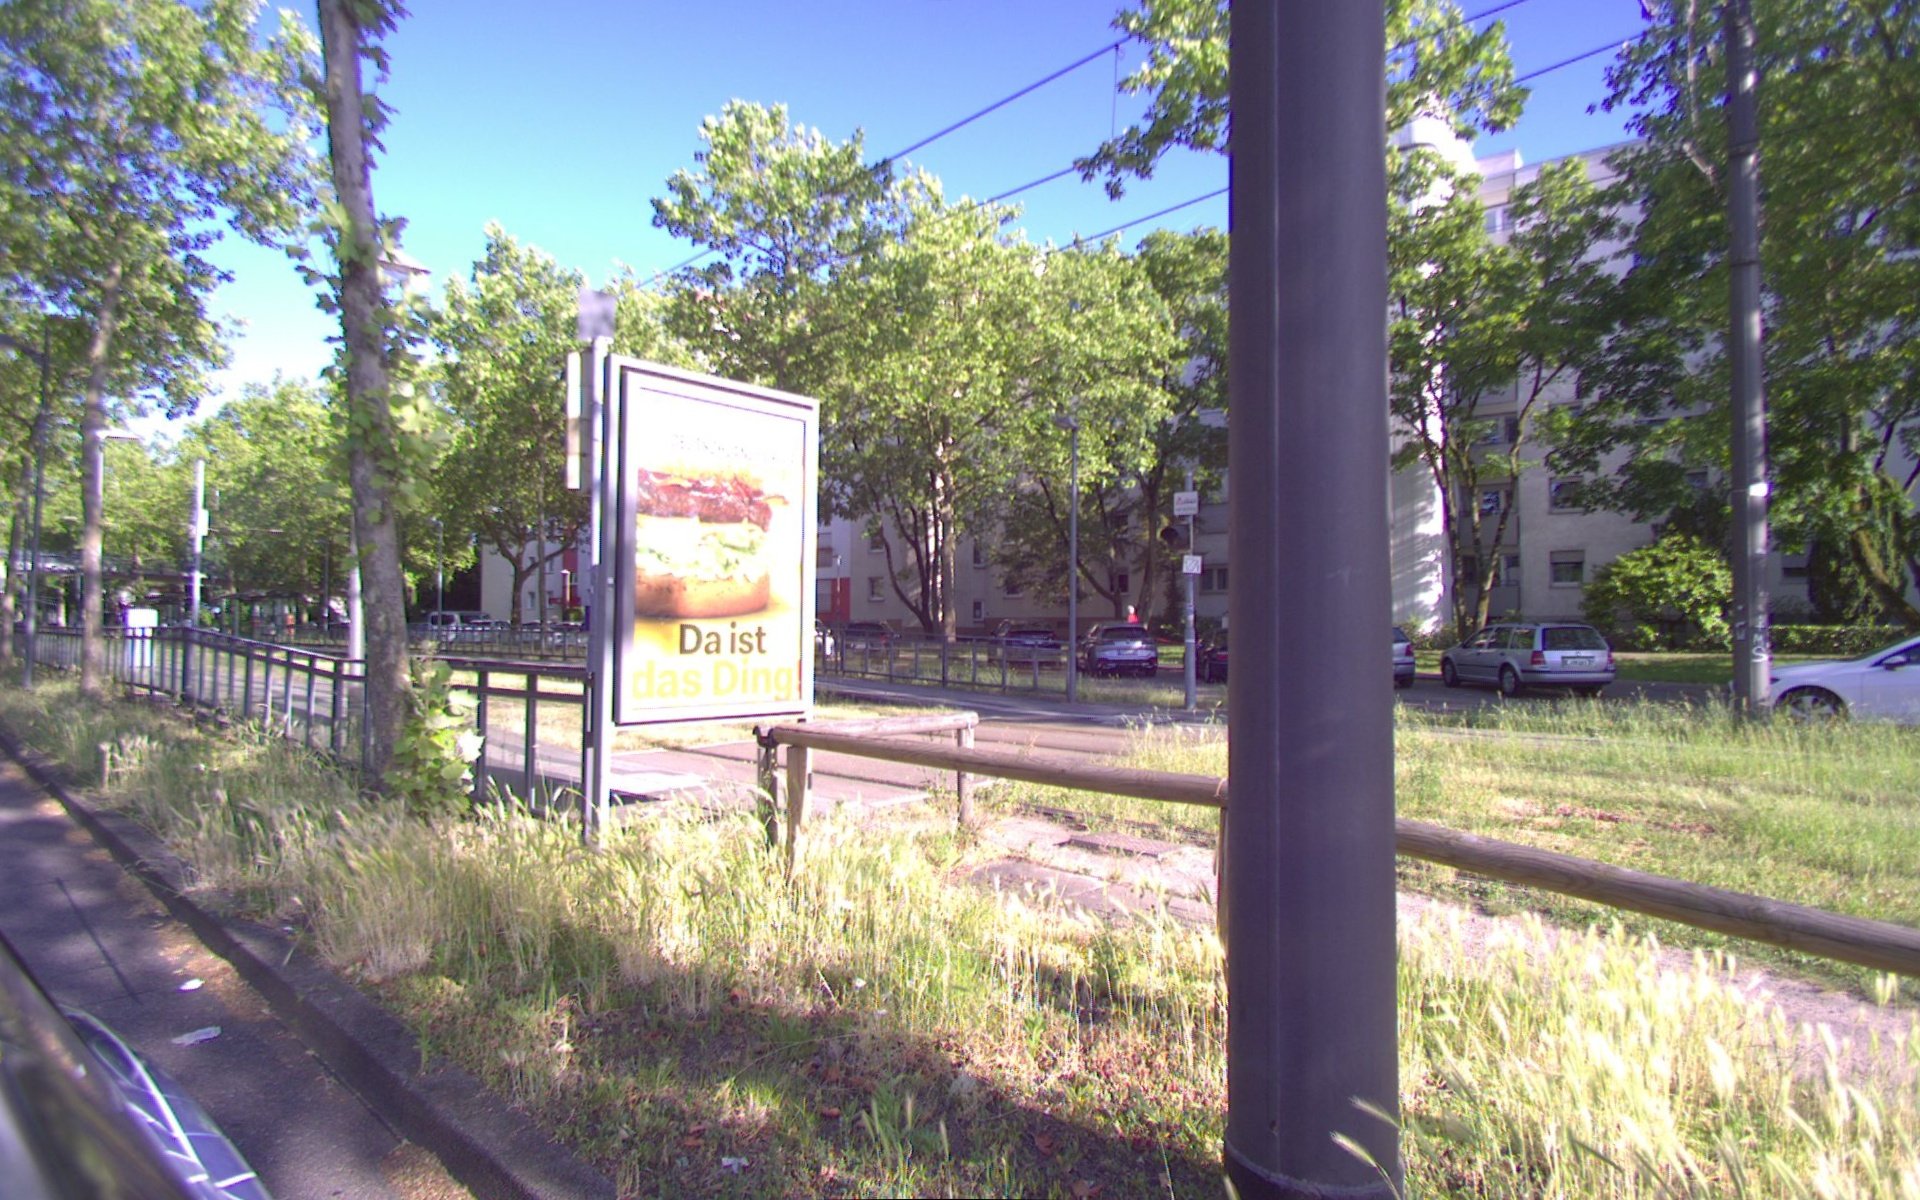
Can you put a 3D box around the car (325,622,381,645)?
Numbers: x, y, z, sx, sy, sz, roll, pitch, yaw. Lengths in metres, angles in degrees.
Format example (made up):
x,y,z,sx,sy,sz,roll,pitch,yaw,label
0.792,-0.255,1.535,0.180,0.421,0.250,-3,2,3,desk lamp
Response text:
x,y,z,sx,sy,sz,roll,pitch,yaw,label
-40.838,2.221,68.193,1.633,1.452,3.805,-1,-1,-2,car

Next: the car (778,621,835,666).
x,y,z,sx,sy,sz,roll,pitch,yaw,label
-5.565,1.564,37.020,1.633,1.522,3.805,-1,-1,-2,car

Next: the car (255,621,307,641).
x,y,z,sx,sy,sz,roll,pitch,yaw,label
-53.050,2.396,79.155,1.633,1.452,3.805,-1,-1,-2,car

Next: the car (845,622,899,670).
x,y,z,sx,sy,sz,roll,pitch,yaw,label
-2.975,1.522,34.651,1.633,1.522,3.805,-1,-1,-2,car

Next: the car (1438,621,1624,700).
x,y,z,sx,sy,sz,roll,pitch,yaw,label
11.474,1.156,20.667,1.559,1.413,3.906,-1,-1,0,car

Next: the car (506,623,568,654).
x,y,z,sx,sy,sz,roll,pitch,yaw,label
-21.336,1.934,51.185,1.633,1.452,3.805,-1,-1,-2,car

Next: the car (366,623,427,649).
x,y,z,sx,sy,sz,roll,pitch,yaw,label
-33.693,2.108,60.604,1.633,1.452,3.805,-1,-1,-2,car

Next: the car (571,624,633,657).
x,y,z,sx,sy,sz,roll,pitch,yaw,label
-16.626,1.850,47.161,1.633,1.452,3.805,-1,-1,-2,car

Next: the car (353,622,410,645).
x,y,z,sx,sy,sz,roll,pitch,yaw,label
-37.884,2.167,66.380,1.633,1.452,3.805,-1,-1,-2,car

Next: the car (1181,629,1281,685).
x,y,z,sx,sy,sz,roll,pitch,yaw,label
6.675,1.373,25.279,1.445,1.234,3.815,-1,-1,0,car

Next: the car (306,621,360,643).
x,y,z,sx,sy,sz,roll,pitch,yaw,label
-44.978,2.282,72.683,1.633,1.452,3.805,-1,-1,-2,car

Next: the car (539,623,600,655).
x,y,z,sx,sy,sz,roll,pitch,yaw,label
-19.045,1.892,49.542,1.633,1.452,3.805,-1,-1,-2,car

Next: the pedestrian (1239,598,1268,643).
x,y,z,sx,sy,sz,roll,pitch,yaw,label
10.810,0.759,37.262,0.786,1.635,0.755,-1,0,39,pedestrian

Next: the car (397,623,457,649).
x,y,z,sx,sy,sz,roll,pitch,yaw,label
-31.331,2.077,59.601,1.633,1.452,3.805,-1,-1,-2,car

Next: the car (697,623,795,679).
x,y,z,sx,sy,sz,roll,pitch,yaw,label
-6.408,1.500,30.264,2.817,1.569,1.558,-2,-1,44,car

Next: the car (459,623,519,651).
x,y,z,sx,sy,sz,roll,pitch,yaw,label
-25.870,1.994,55.662,1.633,1.452,3.805,-1,-1,-2,car

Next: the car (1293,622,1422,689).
x,y,z,sx,sy,sz,roll,pitch,yaw,label
9.143,1.234,23.592,1.559,1.413,3.638,-1,-1,0,car

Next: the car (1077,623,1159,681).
x,y,z,sx,sy,sz,roll,pitch,yaw,label
4.218,1.360,27.521,1.633,1.413,3.803,-1,-1,0,car

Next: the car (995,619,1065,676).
x,y,z,sx,sy,sz,roll,pitch,yaw,label
1.984,1.350,29.668,1.633,1.522,3.805,-1,-1,-2,car

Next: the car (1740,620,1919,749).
x,y,z,sx,sy,sz,roll,pitch,yaw,label
12.472,1.014,12.288,4.641,1.522,1.634,-2,-1,42,car

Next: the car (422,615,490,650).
x,y,z,sx,sy,sz,roll,pitch,yaw,label
-28.452,1.819,57.256,1.814,1.888,4.323,-1,-1,-2,car

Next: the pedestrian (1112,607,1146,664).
x,y,z,sx,sy,sz,roll,pitch,yaw,label
5.318,1.098,31.853,0.786,1.745,0.755,-1,0,39,pedestrian

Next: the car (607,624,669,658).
x,y,z,sx,sy,sz,roll,pitch,yaw,label
-14.062,1.760,44.338,1.633,1.366,3.805,-1,-1,-2,car
